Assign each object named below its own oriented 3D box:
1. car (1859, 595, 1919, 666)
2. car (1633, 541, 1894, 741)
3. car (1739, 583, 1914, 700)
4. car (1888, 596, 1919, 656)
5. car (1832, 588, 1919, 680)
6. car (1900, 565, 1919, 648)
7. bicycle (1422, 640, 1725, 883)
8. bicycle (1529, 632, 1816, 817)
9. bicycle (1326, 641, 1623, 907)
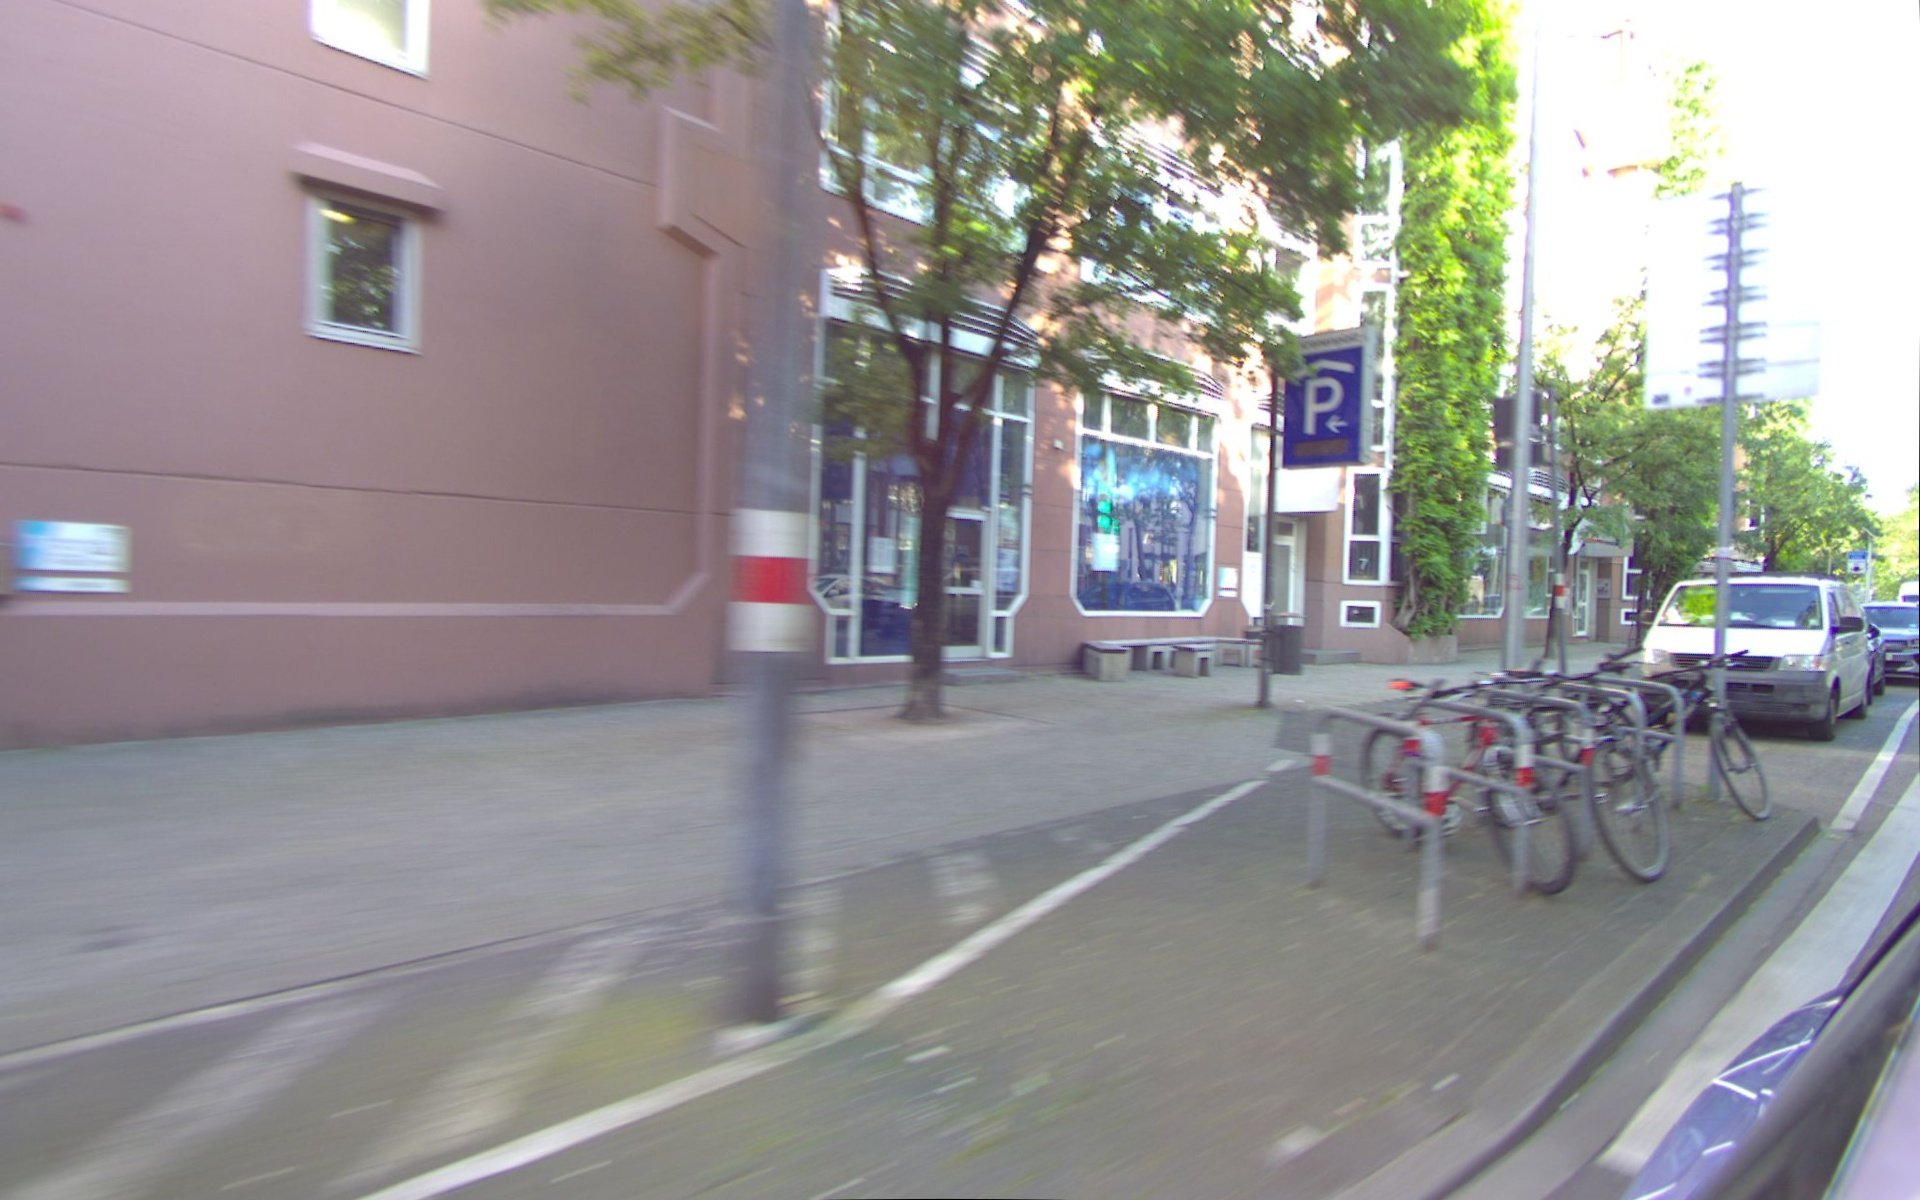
[{"bbox_3d":[23.141,0.717,24.405,3.933,1.598,1.830,1,1,-43],"label":"car"},{"bbox_3d":[10.564,0.420,13.132,5.083,2.104,1.921,1,1,-43],"label":"car"},{"bbox_3d":[14.636,0.618,17.017,4.129,1.691,1.789,1,1,-43],"label":"car"},{"bbox_3d":[27.850,0.746,28.795,3.933,1.598,1.830,1,1,-43],"label":"car"},{"bbox_3d":[19.379,0.656,20.768,4.365,1.691,1.789,1,1,-43],"label":"car"},{"bbox_3d":[32.620,0.259,33.195,5.804,2.597,2.118,1,1,-43],"label":"car"},{"bbox_3d":[3.362,0.817,5.744,0.490,1.081,1.685,1,1,-8],"label":"bicycle"},{"bbox_3d":[4.987,0.810,7.227,0.500,1.081,1.686,1,1,-19],"label":"bicycle"},{"bbox_3d":[2.598,0.807,5.340,0.490,1.081,1.685,1,1,-8],"label":"bicycle"}]
